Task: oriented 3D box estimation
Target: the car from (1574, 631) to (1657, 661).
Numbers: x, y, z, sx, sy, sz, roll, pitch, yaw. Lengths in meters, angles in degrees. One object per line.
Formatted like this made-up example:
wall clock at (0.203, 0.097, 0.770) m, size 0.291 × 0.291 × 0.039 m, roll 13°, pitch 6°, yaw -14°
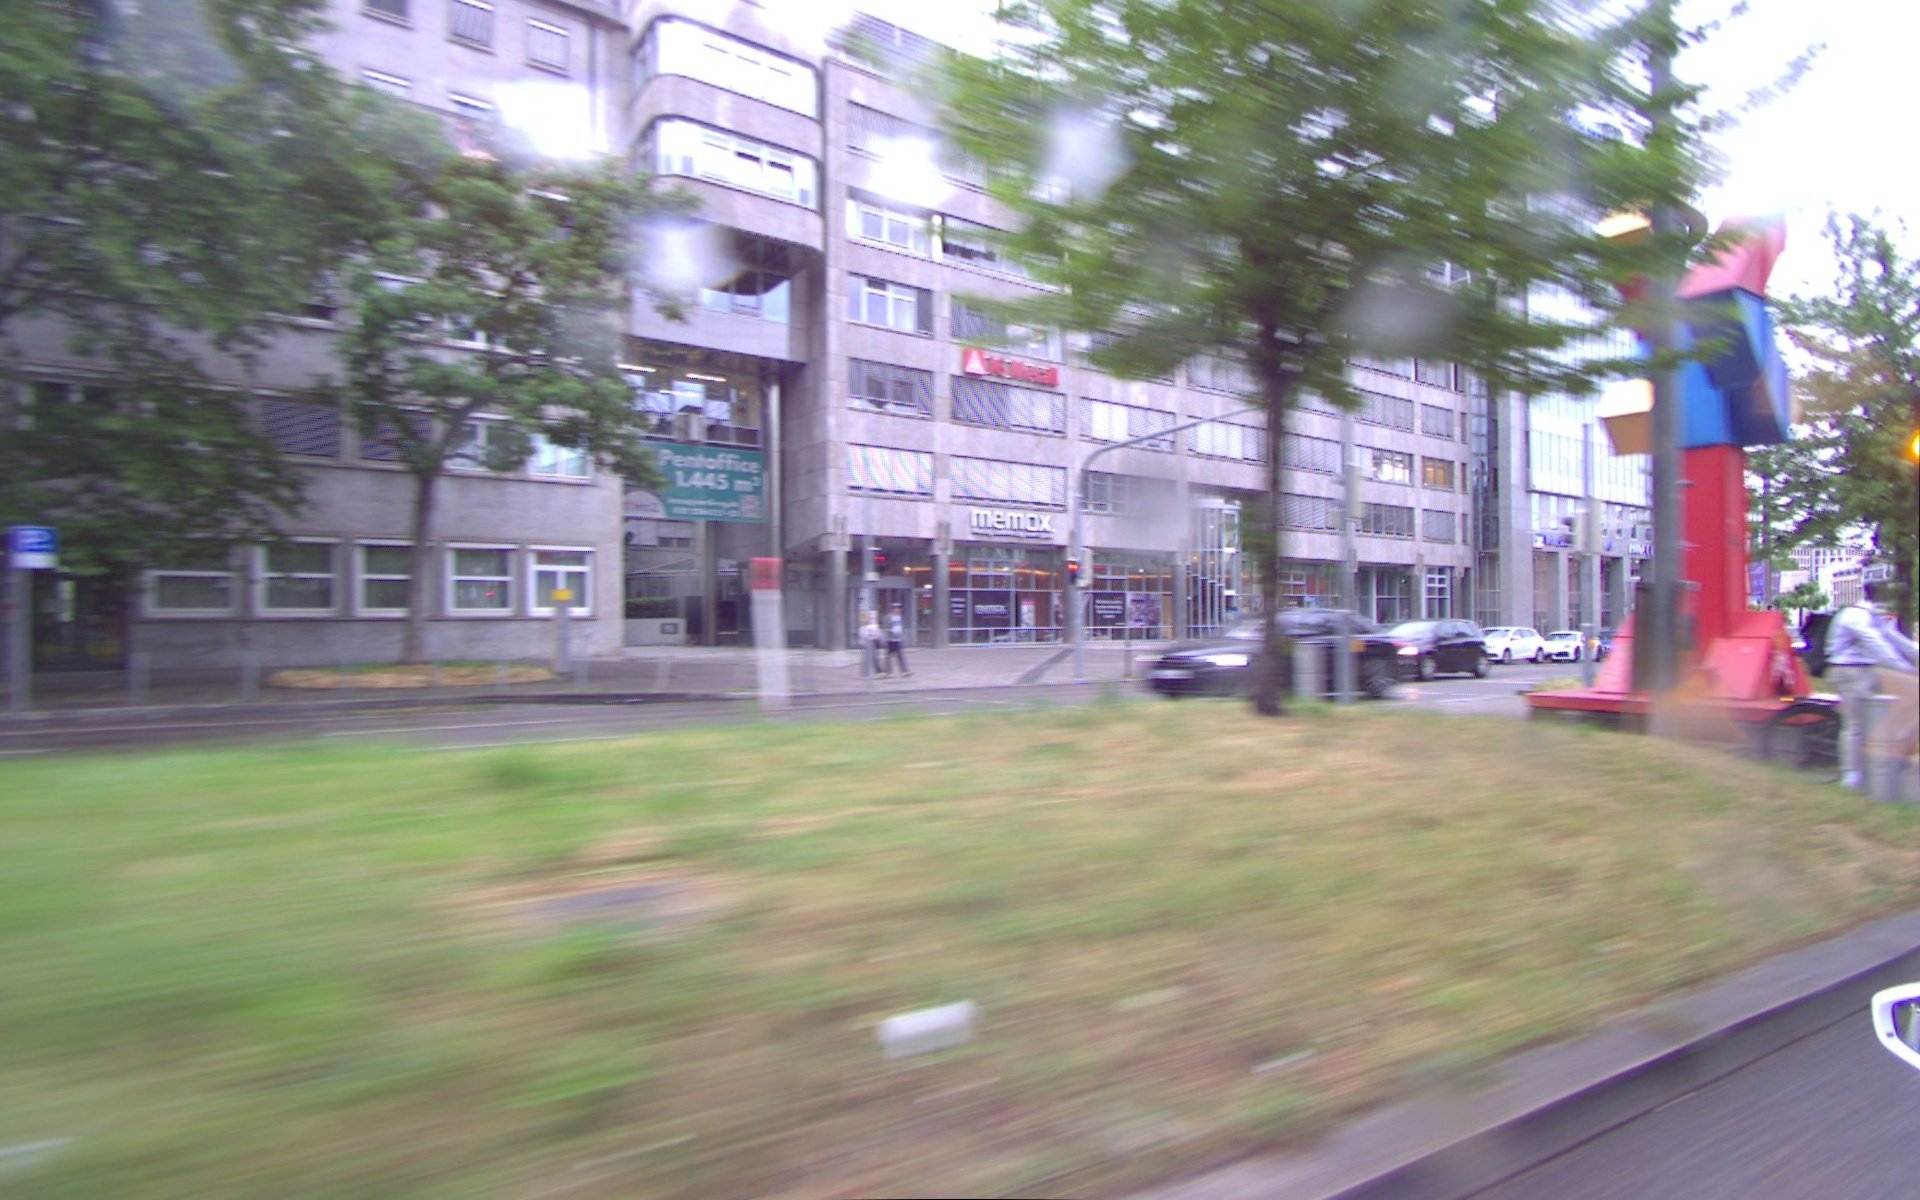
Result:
car at (30.670, 2.134, 46.979) m, size 4.434 × 1.343 × 1.879 m, roll 2°, pitch -2°, yaw -37°

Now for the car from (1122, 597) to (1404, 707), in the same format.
car at (4.836, 0.789, 15.740) m, size 4.680 × 1.486 × 1.777 m, roll 1°, pitch -3°, yaw -36°

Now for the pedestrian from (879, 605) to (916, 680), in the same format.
pedestrian at (-1.535, 1.028, 24.677) m, size 0.522 × 1.811 × 0.717 m, roll 0°, pitch -1°, yaw 44°

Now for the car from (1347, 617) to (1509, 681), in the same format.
car at (11.427, 1.180, 24.452) m, size 3.958 × 1.433 × 1.779 m, roll 1°, pitch -3°, yaw -34°

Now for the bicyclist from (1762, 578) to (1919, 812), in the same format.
bicyclist at (7.500, 0.735, 8.285) m, size 0.802 × 1.772 × 1.071 m, roll 3°, pitch 1°, yaw -28°

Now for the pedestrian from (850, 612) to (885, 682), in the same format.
pedestrian at (-2.243, 1.124, 24.322) m, size 0.615 × 1.651 × 0.600 m, roll 1°, pitch -1°, yaw -41°

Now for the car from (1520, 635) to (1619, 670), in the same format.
car at (25.830, 2.191, 42.499) m, size 4.634 × 1.420 × 1.766 m, roll 1°, pitch -2°, yaw -33°

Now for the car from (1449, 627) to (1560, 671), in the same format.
car at (21.490, 1.897, 39.563) m, size 4.860 × 1.644 × 1.765 m, roll 1°, pitch -1°, yaw -33°

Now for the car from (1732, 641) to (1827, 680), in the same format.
car at (33.100, 2.413, 40.531) m, size 4.521 × 1.448 × 1.850 m, roll 1°, pitch -2°, yaw -35°

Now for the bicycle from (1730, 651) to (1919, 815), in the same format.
bicycle at (7.578, 1.072, 8.132) m, size 0.768 × 1.154 × 1.963 m, roll 1°, pitch 1°, yaw -28°

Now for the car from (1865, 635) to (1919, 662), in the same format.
car at (52.803, 2.691, 56.651) m, size 4.094 × 1.448 × 1.848 m, roll 1°, pitch -2°, yaw -37°
